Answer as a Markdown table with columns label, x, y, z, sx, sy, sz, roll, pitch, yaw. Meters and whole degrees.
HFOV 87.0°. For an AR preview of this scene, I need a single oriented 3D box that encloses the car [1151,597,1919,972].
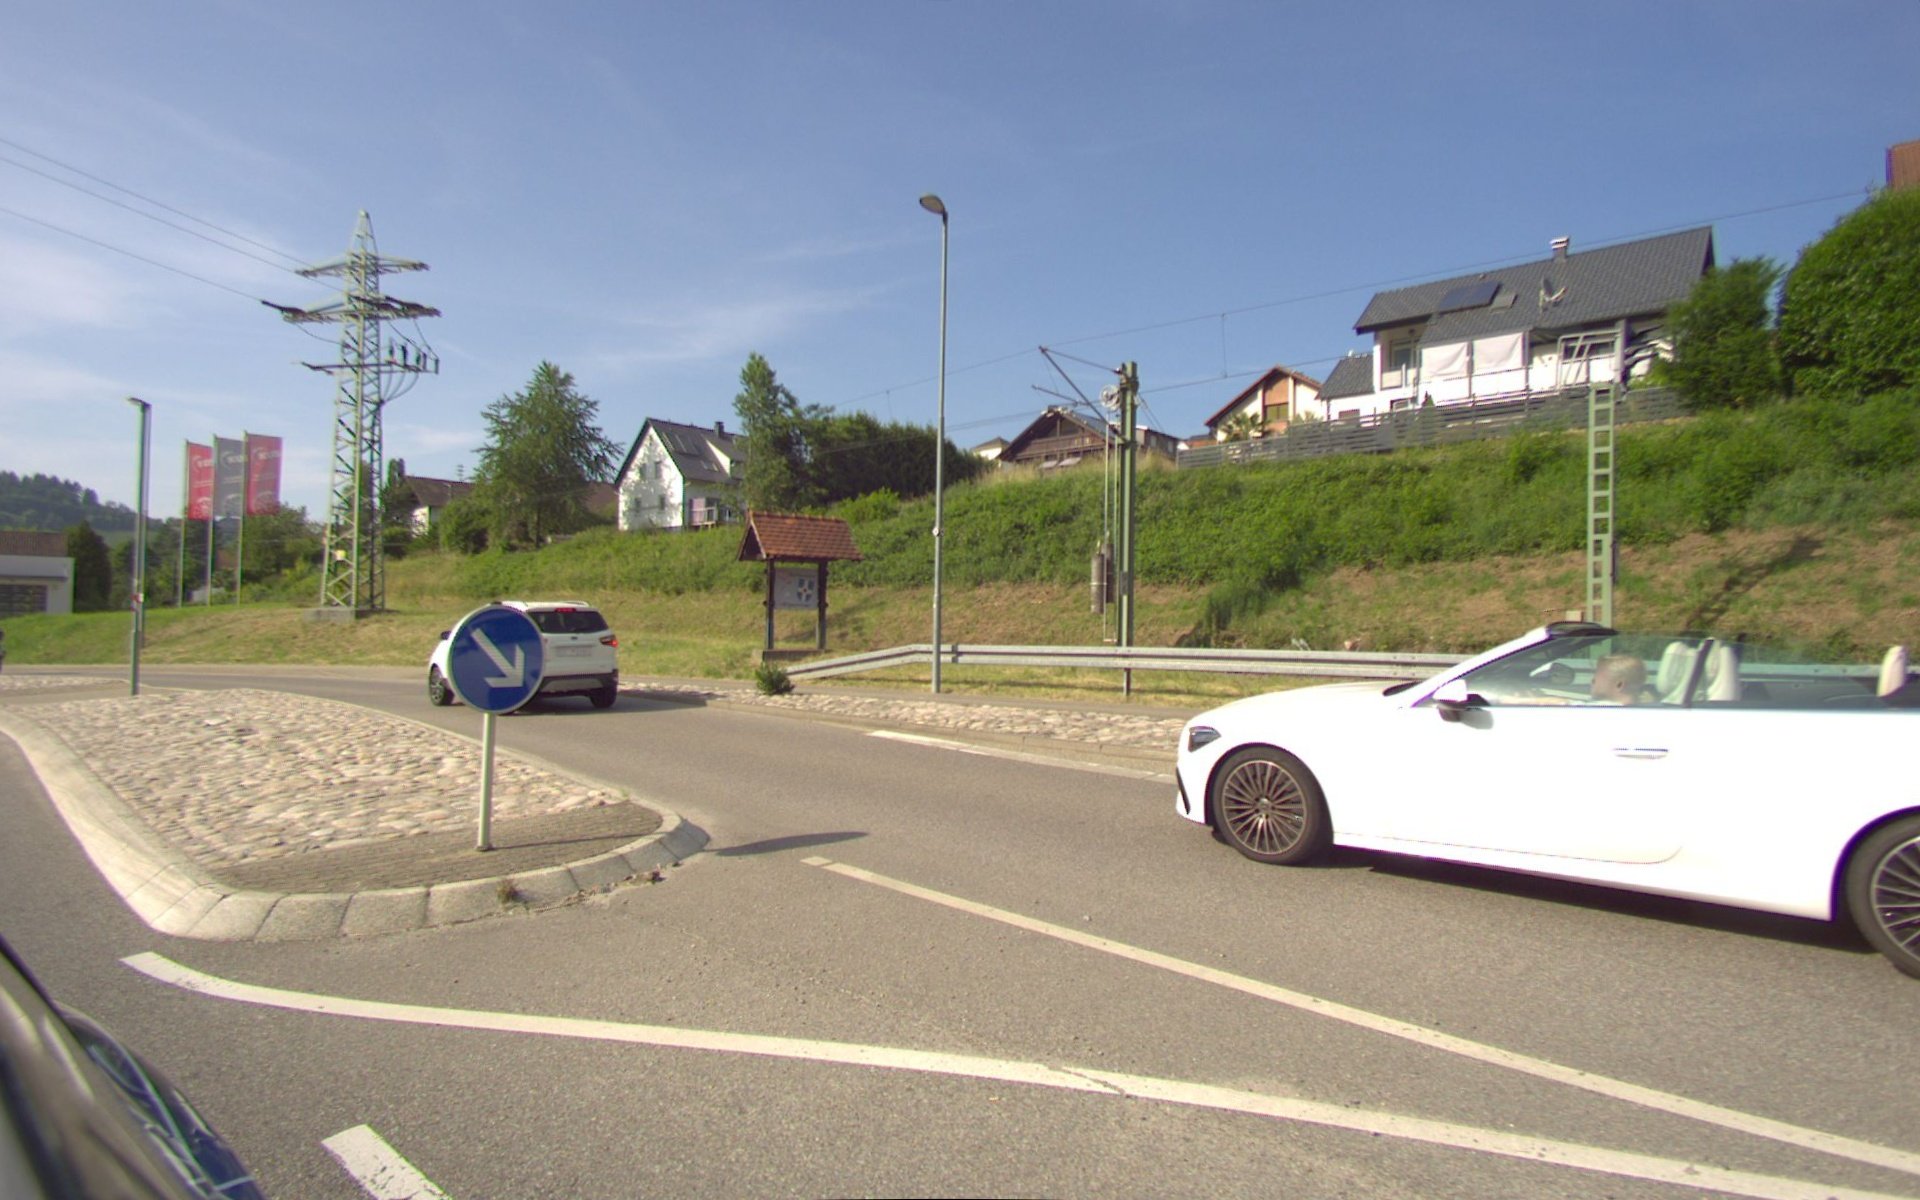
| label | x | y | z | sx | sy | sz | roll | pitch | yaw |
| --- | --- | --- | --- | --- | --- | --- | --- | --- | --- |
| car | 3.518 | 0.708 | 5.092 | 4.826 | 1.410 | 1.763 | -1 | -1 | 43 |

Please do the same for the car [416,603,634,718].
| label | x | y | z | sx | sy | sz | roll | pitch | yaw |
| --- | --- | --- | --- | --- | --- | --- | --- | --- | --- |
| car | -6.895 | 0.857 | 15.851 | 4.001 | 1.572 | 1.744 | -1 | -1 | 44 |
